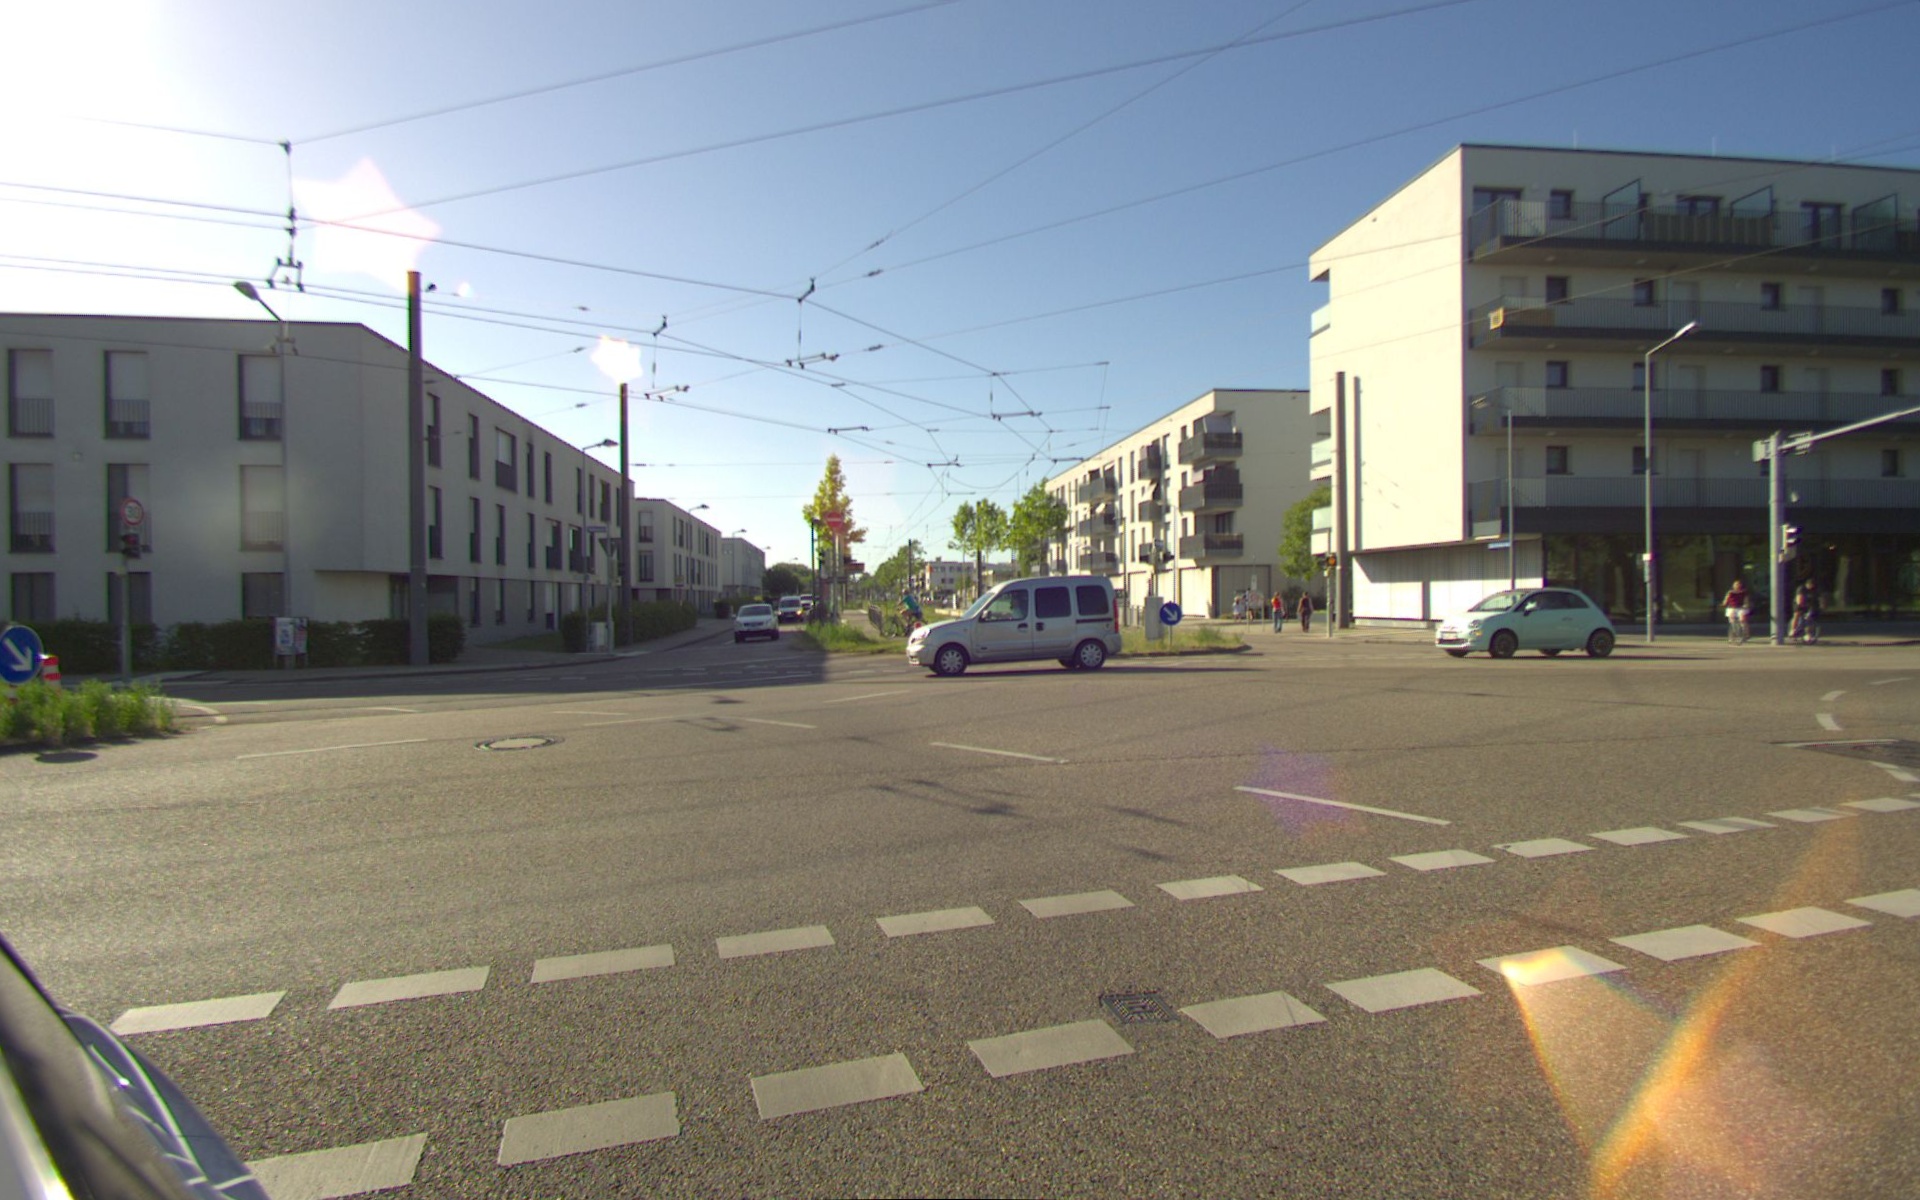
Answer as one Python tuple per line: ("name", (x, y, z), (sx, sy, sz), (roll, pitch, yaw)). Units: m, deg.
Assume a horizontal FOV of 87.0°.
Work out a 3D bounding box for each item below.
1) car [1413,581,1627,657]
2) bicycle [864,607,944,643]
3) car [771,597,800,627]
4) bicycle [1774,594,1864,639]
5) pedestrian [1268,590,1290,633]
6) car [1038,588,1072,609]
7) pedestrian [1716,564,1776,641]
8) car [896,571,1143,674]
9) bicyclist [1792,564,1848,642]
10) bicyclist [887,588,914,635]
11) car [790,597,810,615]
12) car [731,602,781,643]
("car", (12.055, 0.418, 21.927), (3.487, 1.498, 2.004), (-1, -2, -9))
("bicycle", (-1.968, 0.868, 35.813), (2.786, 1.207, 0.903), (-1, 0, 0))
("car", (-12.334, 0.818, 71.694), (1.968, 2.029, 4.008), (-1, 0, -9))
("bicycle", (22.774, 0.432, 26.866), (0.732, 1.152, 1.648), (-1, 0, -18))
("pedestrian", (13.008, 0.461, 41.289), (0.743, 1.699, 0.574), (0, 2, 6))
("car", (7.692, -0.135, 82.388), (1.969, 1.564, 4.007), (-1, 2, -7))
("pedestrian", (21.196, 0.057, 27.316), (0.748, 2.029, 0.982), (-1, 0, -11))
("car", (1.037, 0.387, 19.043), (4.292, 1.768, 2.004), (-1, 0, -8))
("bicyclist", (22.781, 0.087, 26.829), (0.797, 2.029, 0.797), (-1, 0, -18))
("bicyclist", (-2.088, 0.399, 35.816), (0.900, 1.604, 0.895), (-1, 0, 0))
("car", (-18.255, 0.695, 115.326), (1.967, 2.029, 4.009), (-1, 0, -11))
("car", (-8.864, 0.927, 44.197), (1.977, 1.677, 4.008), (-1, 0, -9))
